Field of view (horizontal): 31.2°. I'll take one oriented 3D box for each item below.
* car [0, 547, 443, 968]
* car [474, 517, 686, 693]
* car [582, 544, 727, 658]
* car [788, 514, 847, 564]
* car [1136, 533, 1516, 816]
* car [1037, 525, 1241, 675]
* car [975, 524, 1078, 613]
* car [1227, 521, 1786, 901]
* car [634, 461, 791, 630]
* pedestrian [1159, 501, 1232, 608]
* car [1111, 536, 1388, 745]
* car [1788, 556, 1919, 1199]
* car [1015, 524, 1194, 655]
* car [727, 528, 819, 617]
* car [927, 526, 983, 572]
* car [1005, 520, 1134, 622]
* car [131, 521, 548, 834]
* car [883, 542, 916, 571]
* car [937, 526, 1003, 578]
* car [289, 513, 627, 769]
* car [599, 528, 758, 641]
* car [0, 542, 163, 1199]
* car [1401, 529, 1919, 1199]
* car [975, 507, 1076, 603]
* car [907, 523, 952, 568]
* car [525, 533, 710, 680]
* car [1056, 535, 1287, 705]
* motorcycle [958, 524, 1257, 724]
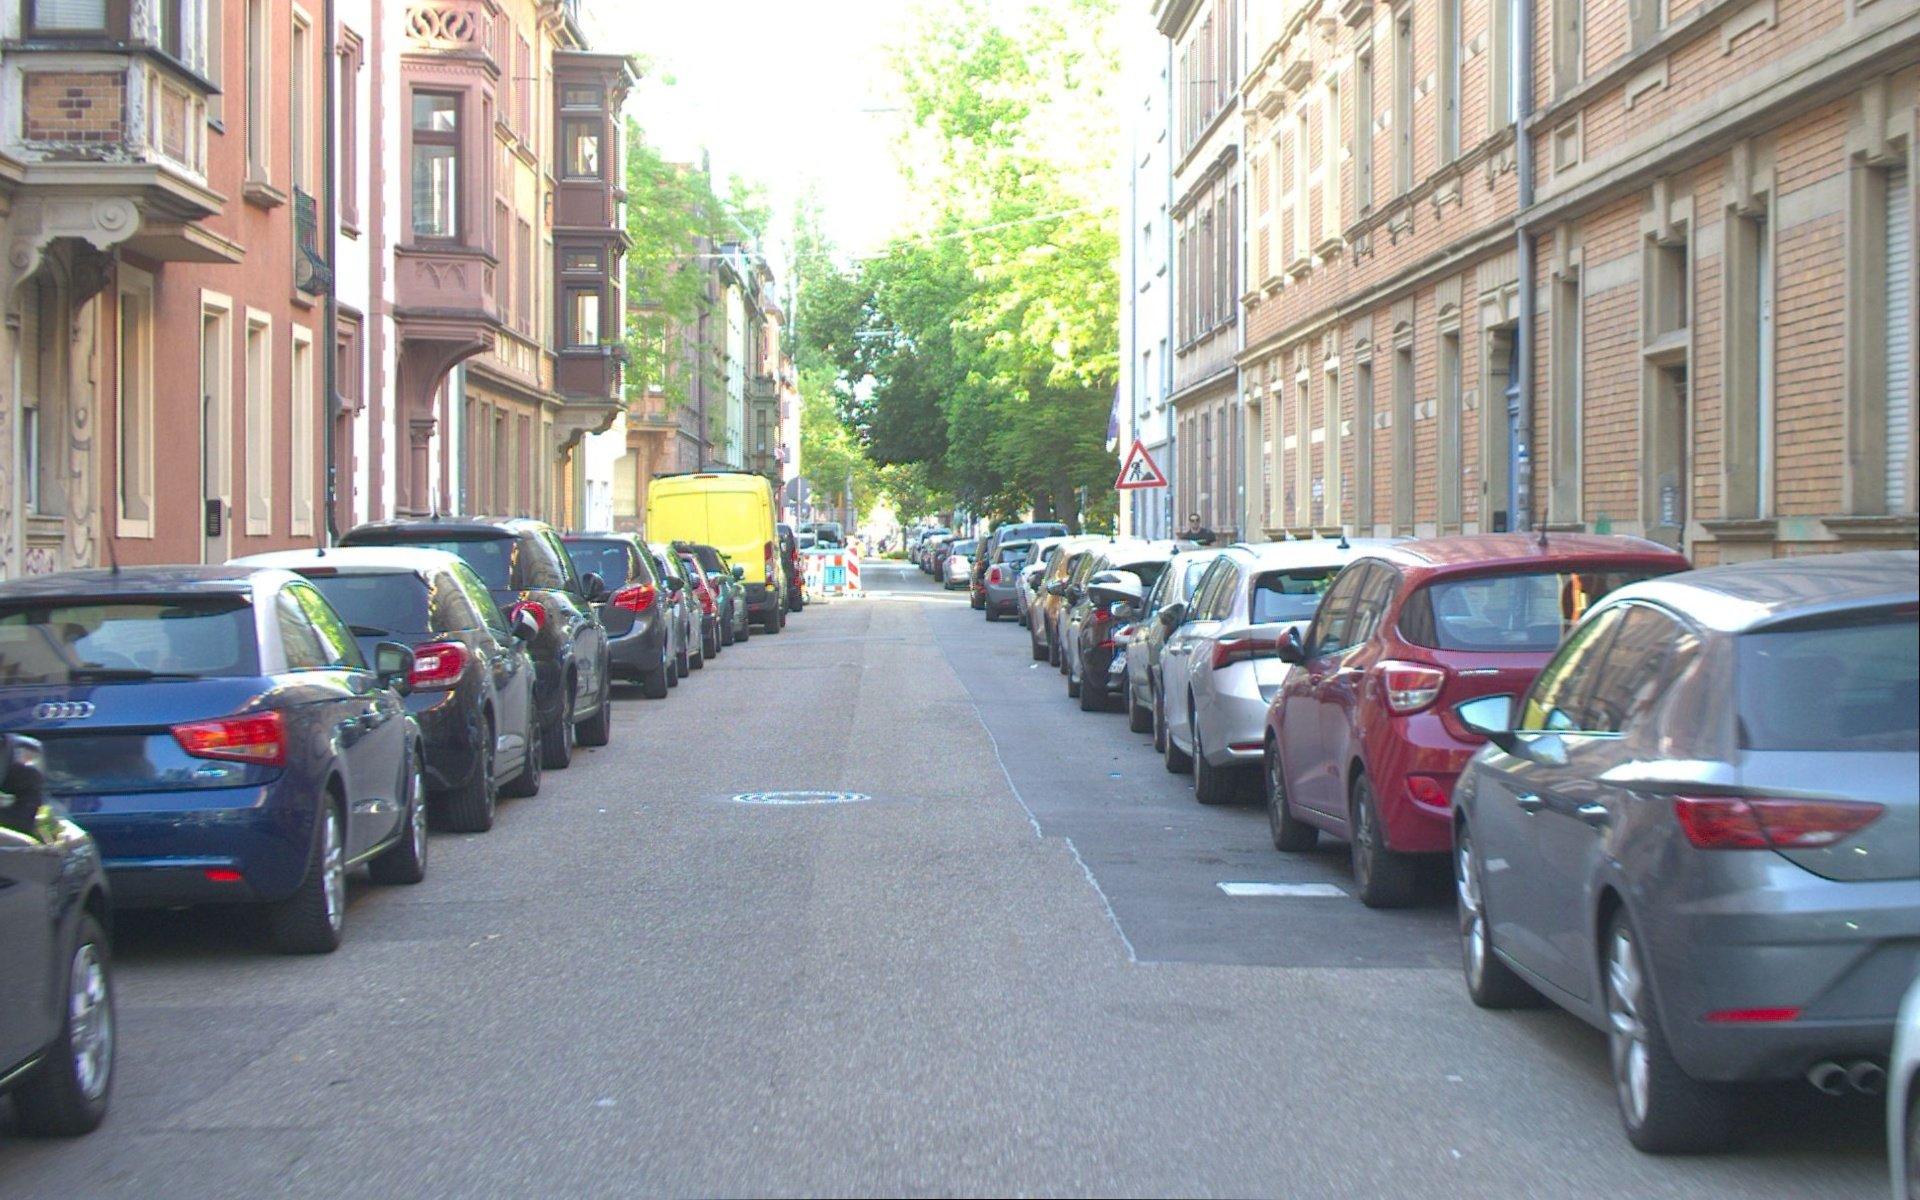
[{"bbox_3d":[-3.132,0.510,13.560,1.781,1.398,3.743,0,1,-3],"label":"car"},{"bbox_3d":[-3.636,-0.001,33.482,1.781,1.600,4.070,0,1,-3],"label":"car"},{"bbox_3d":[-3.894,-0.016,44.302,1.618,1.322,3.613,-3,1,-2],"label":"car"},{"bbox_3d":[-6.092,-2.601,147.260,2.309,2.107,5.170,0,1,0],"label":"car"},{"bbox_3d":[2.066,0.355,20.555,1.762,1.479,4.402,0,1,-1],"label":"car"},{"bbox_3d":[1.889,-0.043,37.424,1.725,1.412,4.094,-4,2,-3],"label":"car"},{"bbox_3d":[1.207,-0.612,63.660,1.754,1.448,4.288,-4,2,0],"label":"car"},{"bbox_3d":[2.301,0.387,15.488,1.658,1.474,4.025,0,1,-3],"label":"car"},{"bbox_3d":[-3.934,-0.897,55.582,2.175,2.499,5.879,-2,1,-2],"label":"car"},{"bbox_3d":[3.662,-0.706,53.410,0.654,1.625,0.880,-2,1,-43],"label":"pedestrian"},{"bbox_3d":[2.076,0.243,25.620,1.691,1.401,3.992,0,1,-1],"label":"car"},{"bbox_3d":[2.504,0.695,4.675,1.705,1.457,3.970,0,1,-1],"label":"car"},{"bbox_3d":[1.719,-0.160,42.166,1.753,1.441,4.070,-3,1,-3],"label":"car"},{"bbox_3d":[-3.855,-0.591,70.378,1.818,1.760,4.336,0,1,-4],"label":"car"},{"bbox_3d":[-0.184,-1.838,124.465,1.894,1.619,4.000,0,1,-2],"label":"car"},{"bbox_3d":[1.802,-0.520,57.779,1.753,1.513,4.444,-4,2,-2],"label":"car"},{"bbox_3d":[-3.235,0.330,18.586,1.642,1.450,3.839,-2,1,-2],"label":"car"},{"bbox_3d":[-3.721,-2.693,212.384,1.993,1.722,4.001,0,1,-2],"label":"car"},{"bbox_3d":[0.279,-1.465,103.186,1.723,1.517,4.001,0,1,-4],"label":"car"},{"bbox_3d":[-3.368,0.212,23.770,1.761,1.612,4.189,0,1,-1],"label":"car"},{"bbox_3d":[-3.959,-0.252,48.918,1.718,1.408,3.897,-4,1,2],"label":"car"},{"bbox_3d":[-2.981,0.626,7.213,1.781,1.478,3.743,0,1,-1],"label":"car"},{"bbox_3d":[2.390,0.565,9.825,1.676,1.498,4.069,0,2,-1],"label":"car"},{"bbox_3d":[1.284,-0.938,69.094,1.753,1.780,4.724,-2,2,-1],"label":"car"},{"bbox_3d":[-1.564,-2.777,174.807,2.160,2.248,4.526,0,1,-2],"label":"car"},{"bbox_3d":[-3.798,0.031,38.659,1.694,1.469,3.919,-2,1,-1],"label":"car"},{"bbox_3d":[1.853,0.126,31.282,1.777,1.392,4.318,0,2,-1],"label":"car"},{"bbox_3d":[1.204,0.196,27.971,2.218,1.531,0.890,2,1,-27],"label":"motorcycle"}]
